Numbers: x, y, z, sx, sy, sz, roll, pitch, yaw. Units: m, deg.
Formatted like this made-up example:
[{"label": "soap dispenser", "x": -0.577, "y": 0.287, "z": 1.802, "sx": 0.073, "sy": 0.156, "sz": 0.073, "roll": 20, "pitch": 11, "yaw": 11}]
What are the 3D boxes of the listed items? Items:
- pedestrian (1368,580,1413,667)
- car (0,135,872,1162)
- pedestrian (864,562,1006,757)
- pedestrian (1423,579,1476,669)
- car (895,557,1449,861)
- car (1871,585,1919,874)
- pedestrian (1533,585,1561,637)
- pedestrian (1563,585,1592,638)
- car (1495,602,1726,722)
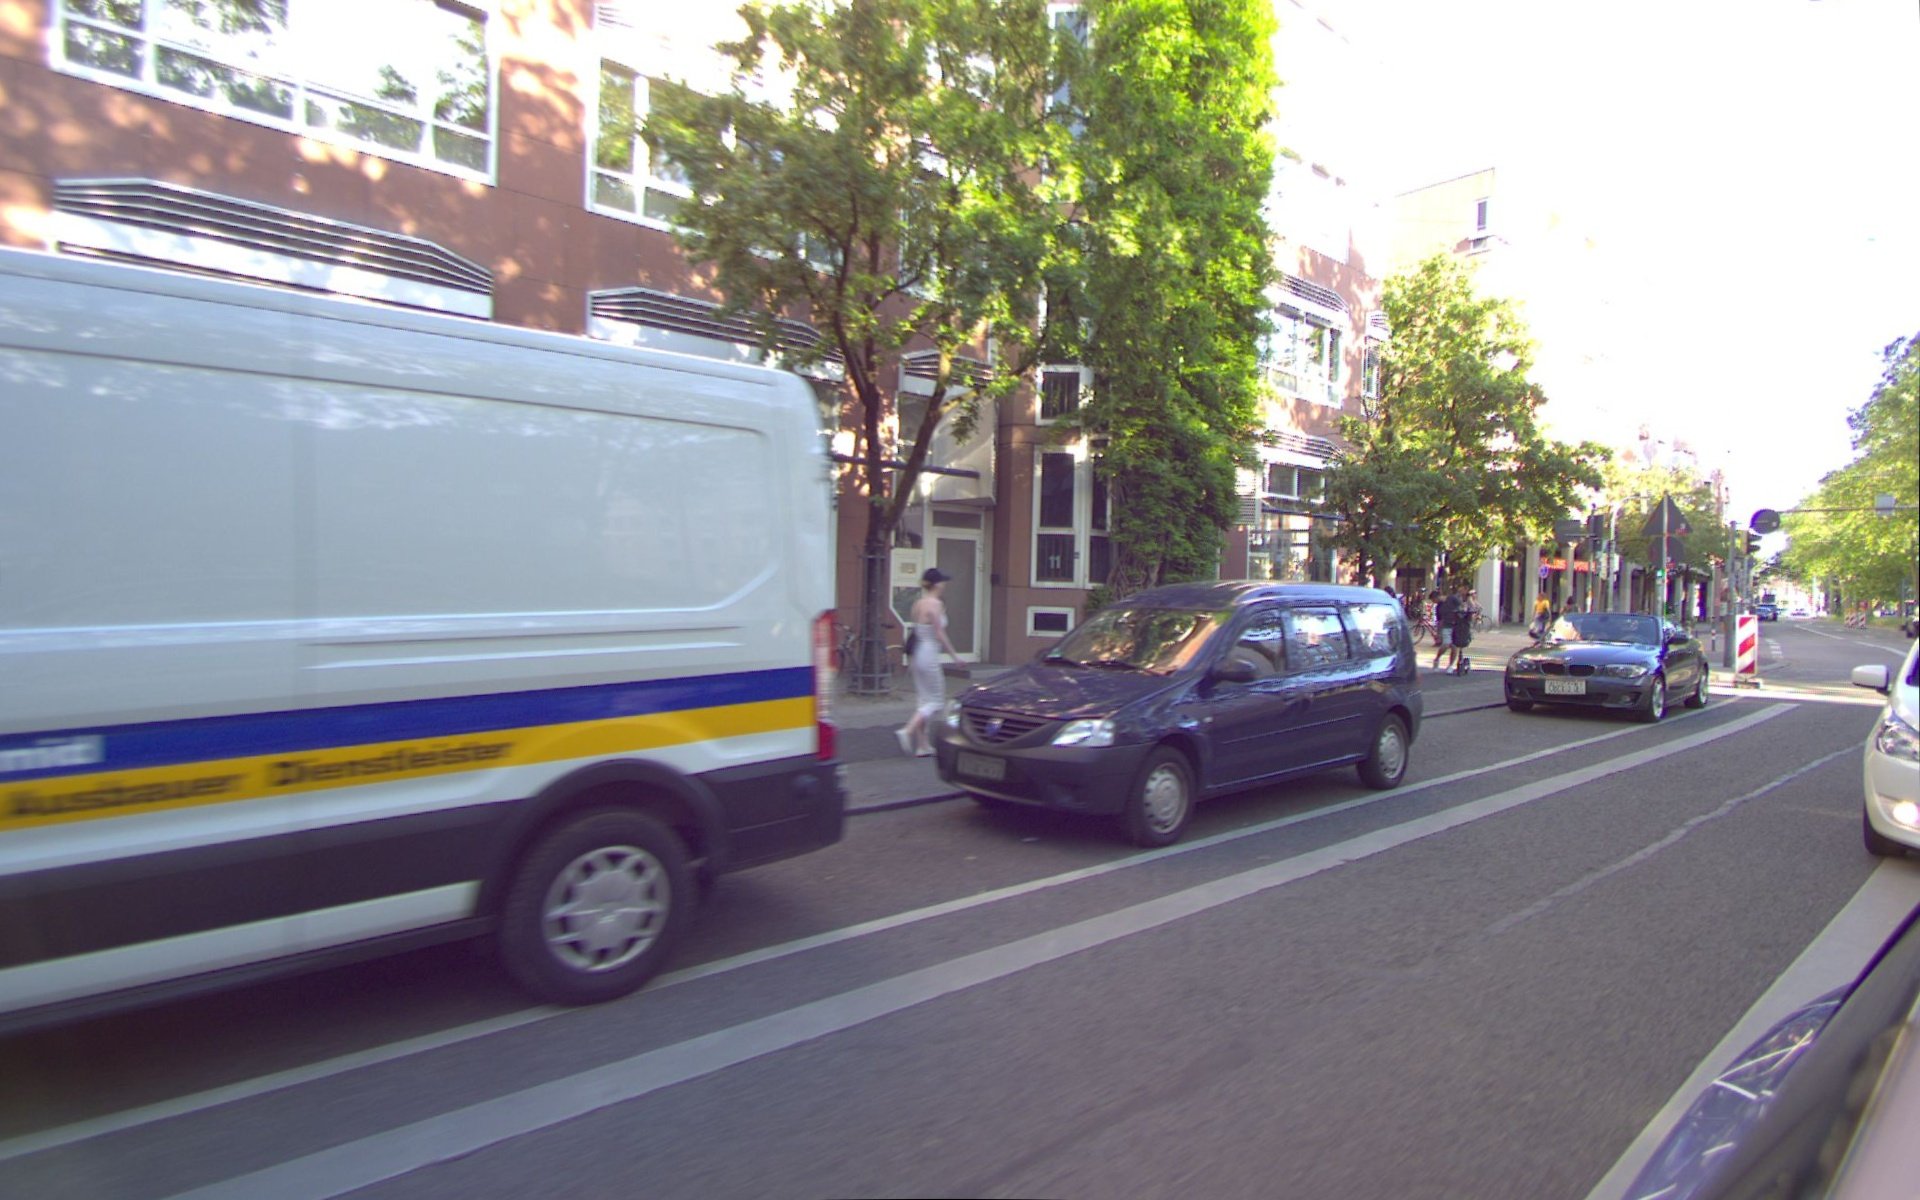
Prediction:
[{"label": "pedestrian", "x": 8.271, "y": 0.440, "z": 19.447, "sx": 0.589, "sy": 1.628, "sz": 0.563, "roll": 1, "pitch": 1, "yaw": -41}, {"label": "car", "x": -3.271, "y": 0.101, "z": 3.225, "sx": 5.801, "sy": 2.597, "sz": 2.119, "roll": 0, "pitch": 1, "yaw": -41}, {"label": "pedestrian", "x": -0.216, "y": 0.466, "z": 8.704, "sx": 0.940, "sy": 1.566, "sz": 0.742, "roll": 0, "pitch": 1, "yaw": -41}, {"label": "pedestrian", "x": 9.164, "y": 0.429, "z": 18.957, "sx": 0.708, "sy": 1.628, "sz": 0.641, "roll": 1, "pitch": 1, "yaw": -41}, {"label": "car", "x": 1.810, "y": 0.568, "z": 7.623, "sx": 4.398, "sy": 1.647, "sz": 1.807, "roll": 0, "pitch": 1, "yaw": -41}, {"label": "car", "x": 7.040, "y": 0.706, "z": 6.259, "sx": 4.131, "sy": 1.519, "sz": 1.805, "roll": 0, "pitch": 1, "yaw": -44}, {"label": "pedestrian", "x": 18.938, "y": 0.345, "z": 32.637, "sx": 0.677, "sy": 1.636, "sz": 0.548, "roll": 2, "pitch": 1, "yaw": 40}, {"label": "pedestrian", "x": 19.483, "y": 0.348, "z": 31.932, "sx": 0.677, "sy": 1.636, "sz": 0.548, "roll": 2, "pitch": 1, "yaw": 40}, {"label": "car", "x": 8.972, "y": 0.726, "z": 13.827, "sx": 3.926, "sy": 1.347, "sz": 1.805, "roll": 0, "pitch": 1, "yaw": -44}]
